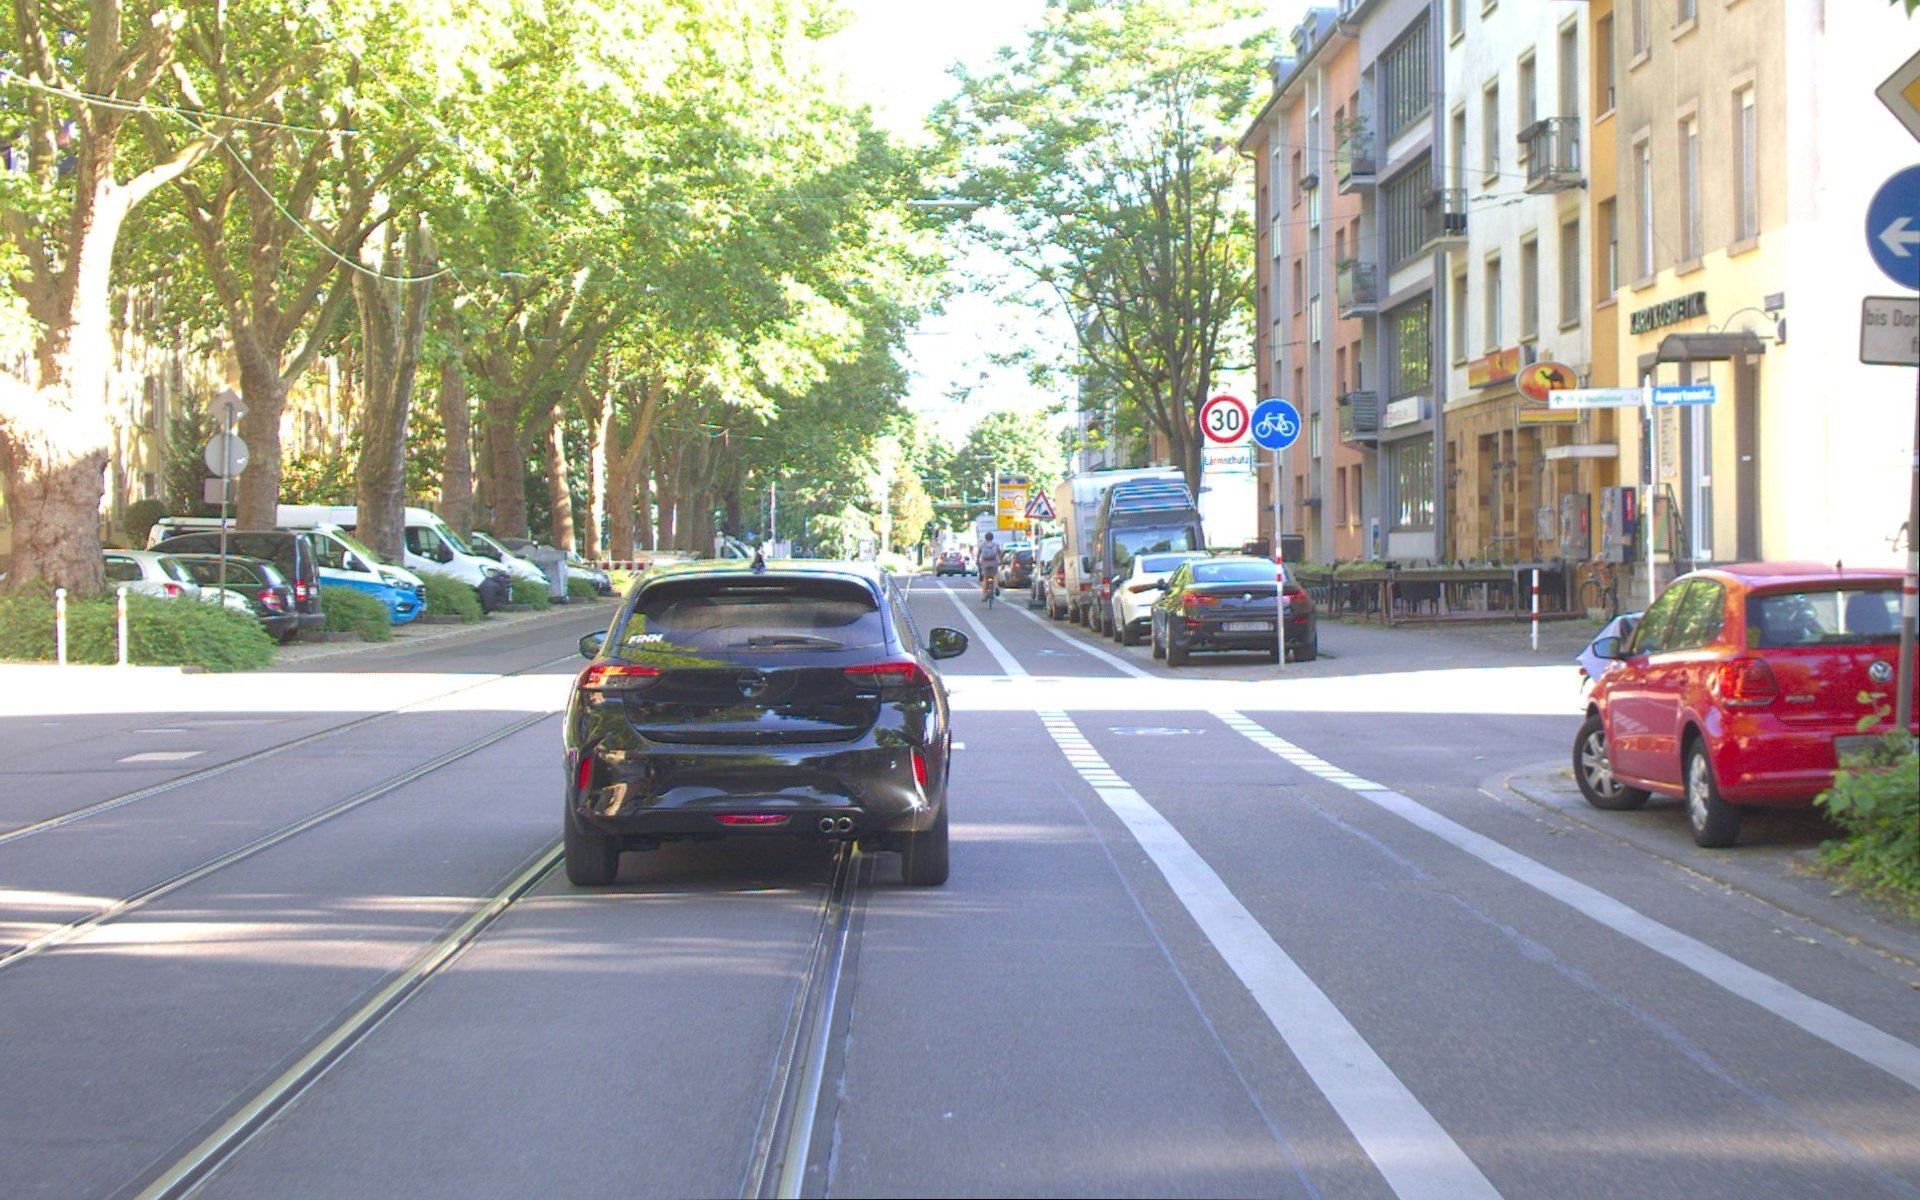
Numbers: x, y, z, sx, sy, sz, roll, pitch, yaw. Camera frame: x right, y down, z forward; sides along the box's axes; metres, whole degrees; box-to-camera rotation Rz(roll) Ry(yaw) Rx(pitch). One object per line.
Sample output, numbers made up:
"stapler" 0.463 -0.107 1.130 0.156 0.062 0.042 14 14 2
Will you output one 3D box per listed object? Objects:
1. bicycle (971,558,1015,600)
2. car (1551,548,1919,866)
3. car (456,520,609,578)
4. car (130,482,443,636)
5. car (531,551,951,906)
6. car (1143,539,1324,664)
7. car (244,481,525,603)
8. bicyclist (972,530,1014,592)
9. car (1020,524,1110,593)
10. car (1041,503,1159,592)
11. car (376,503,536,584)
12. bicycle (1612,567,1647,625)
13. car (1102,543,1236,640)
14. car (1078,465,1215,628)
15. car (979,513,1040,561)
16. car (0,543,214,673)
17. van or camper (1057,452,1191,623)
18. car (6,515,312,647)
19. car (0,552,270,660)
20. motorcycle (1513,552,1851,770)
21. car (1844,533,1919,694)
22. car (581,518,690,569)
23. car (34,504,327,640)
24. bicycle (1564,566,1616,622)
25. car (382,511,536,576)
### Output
"bicycle" 0.794 -0.519 84.111 0.968 0.995 2.583 0 1 -2
"car" 4.500 0.495 18.856 1.702 1.418 3.979 -4 1 -1
"car" -12.526 -1.503 100.638 4.353 1.659 2.001 0 1 -9
"car" -12.018 -0.741 61.569 5.036 2.366 2.081 -4 1 0
"car" -0.934 0.513 16.415 1.763 1.455 3.951 0 1 0
"car" 3.514 -0.019 44.929 1.884 1.429 4.530 -3 1 -1
"car" -12.402 -1.264 74.277 5.639 2.584 2.196 0 1 3
"bicyclist" 0.807 -0.953 84.090 0.958 1.493 1.094 0 1 -2
"car" 2.935 -1.206 97.296 2.254 1.834 5.531 -2 1 -1
"car" 3.050 -1.178 75.977 2.254 1.834 5.531 -2 1 -1
"car" -12.821 -1.437 87.391 3.986 2.007 2.001 0 1 -9
"bicycle" 9.609 -0.067 49.325 0.474 0.786 1.791 0 1 11
"car" 3.297 -0.143 54.933 1.803 1.429 4.000 -2 0 -1
"car" 3.330 -1.011 62.214 2.085 2.762 4.698 -2 2 -1
"car" 1.993 -2.566 139.018 2.254 1.834 5.531 -2 1 -1
"car" -12.706 0.153 47.887 4.299 1.588 1.783 -4 1 -8
"van or camper" 3.232 -1.265 68.773 2.254 3.205 5.531 -2 1 -1
"car" -12.196 -0.298 52.550 4.299 1.669 1.783 -4 1 -8
"car" -12.428 0.090 50.523 4.299 1.286 1.711 -4 1 -8
"motorcycle" 4.829 0.403 22.960 2.092 1.354 0.923 -2 0 16
"car" 11.379 0.118 35.270 4.188 1.592 1.890 0 1 3
"car" -12.903 -2.257 136.919 3.988 2.007 2.000 0 1 6
"car" -12.392 -0.460 54.875 4.299 1.834 1.783 -4 1 -8
"bicycle" 9.253 -0.093 50.505 0.409 0.786 1.792 0 1 -1
"car" -13.876 -1.562 95.169 4.175 1.787 2.001 0 1 -9
